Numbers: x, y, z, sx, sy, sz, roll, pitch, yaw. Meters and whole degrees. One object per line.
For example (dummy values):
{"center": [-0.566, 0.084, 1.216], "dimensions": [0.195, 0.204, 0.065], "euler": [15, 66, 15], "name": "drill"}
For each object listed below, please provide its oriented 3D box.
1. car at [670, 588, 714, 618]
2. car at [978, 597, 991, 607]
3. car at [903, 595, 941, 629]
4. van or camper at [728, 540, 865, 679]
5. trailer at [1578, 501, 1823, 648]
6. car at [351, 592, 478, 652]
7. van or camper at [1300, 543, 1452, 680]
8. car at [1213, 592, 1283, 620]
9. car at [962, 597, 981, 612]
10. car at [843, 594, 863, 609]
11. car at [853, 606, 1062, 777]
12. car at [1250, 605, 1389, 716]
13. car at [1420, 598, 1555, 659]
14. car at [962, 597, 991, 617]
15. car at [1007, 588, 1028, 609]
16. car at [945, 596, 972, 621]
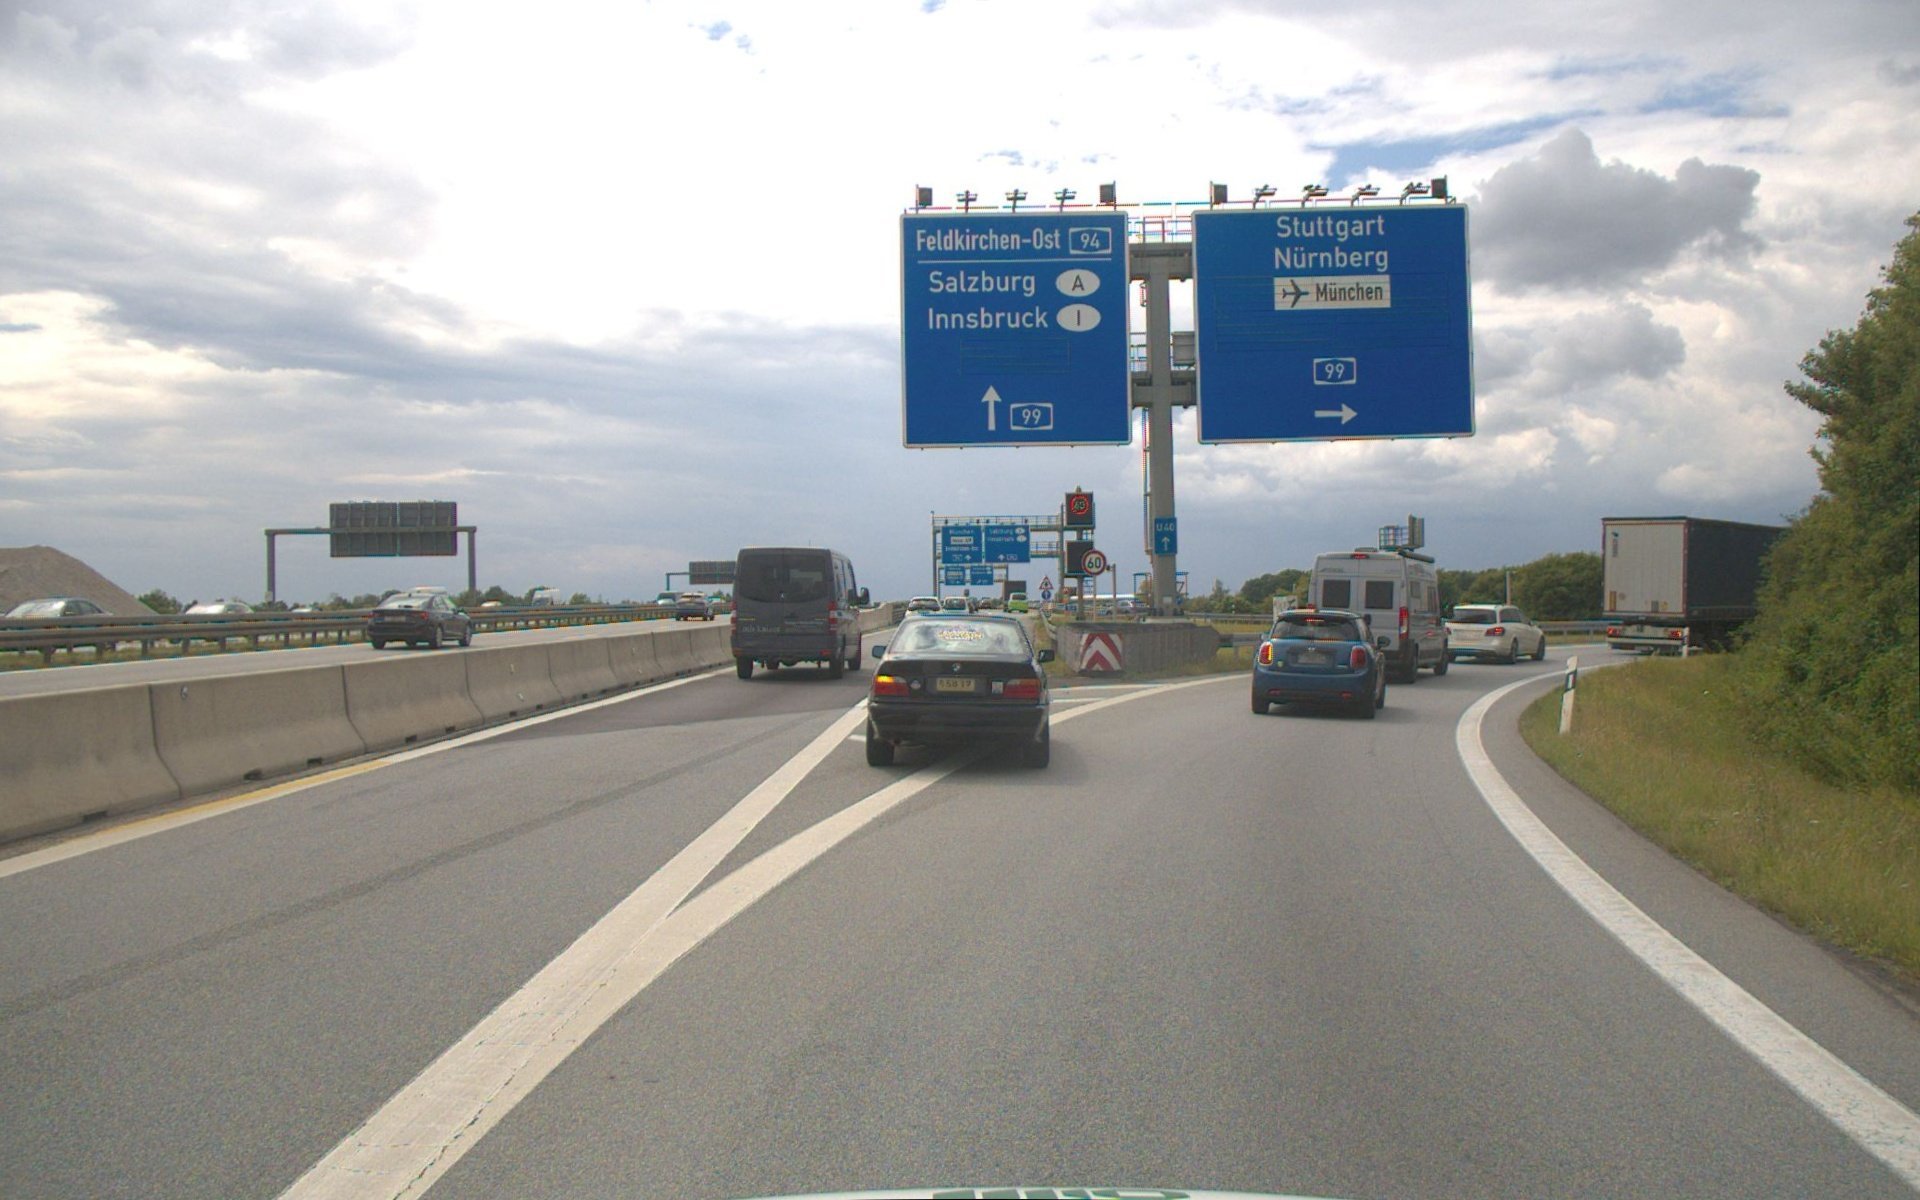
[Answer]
{"center": [-15.554, 0.163, 96.266], "dimensions": [1.862, 1.669, 4.644], "euler": [1, 0, -1], "name": "car"}
{"center": [3.633, 0.294, 240.972], "dimensions": [1.765, 1.449, 4.001], "euler": [0, 0, 2], "name": "car"}
{"center": [-1.724, 0.521, 75.415], "dimensions": [1.666, 1.534, 3.840], "euler": [0, 0, 0], "name": "car"}
{"center": [-3.022, 0.166, 31.817], "dimensions": [1.958, 2.412, 6.126], "euler": [0, 0, 1], "name": "van or camper"}
{"center": [24.378, -0.731, 53.869], "dimensions": [3.284, 4.266, 12.946], "euler": [0, 0, 43], "name": "trailer"}
{"center": [-14.862, 0.564, 45.361], "dimensions": [2.017, 1.554, 4.567], "euler": [0, 0, -1], "name": "car"}
{"center": [8.876, 0.210, 34.874], "dimensions": [2.247, 2.613, 6.159], "euler": [0, 0, 22], "name": "van or camper"}
{"center": [18.756, 0.372, 107.871], "dimensions": [1.983, 1.803, 4.183], "euler": [0, 0, -41], "name": "car"}
{"center": [1.148, 0.466, 164.233], "dimensions": [1.827, 1.449, 4.001], "euler": [0, 0, 1], "name": "car"}
{"center": [-12.346, 0.169, 190.500], "dimensions": [1.952, 1.713, 4.866], "euler": [0, 0, 1], "name": "car"}
{"center": [0.021, 0.771, 15.871], "dimensions": [1.745, 1.402, 4.137], "euler": [0, 0, 1], "name": "car"}
{"center": [5.278, 0.819, 23.981], "dimensions": [1.693, 1.444, 3.668], "euler": [1, 0, 17], "name": "car"}
{"center": [14.001, 0.707, 43.719], "dimensions": [2.167, 1.527, 4.772], "euler": [0, 0, 34], "name": "car"}
{"center": [1.254, 0.496, 125.677], "dimensions": [1.951, 1.494, 4.002], "euler": [0, 0, 4], "name": "car"}
{"center": [5.693, -0.128, 164.519], "dimensions": [1.953, 2.049, 3.999], "euler": [0, 0, -1], "name": "car"}
{"center": [-0.087, 0.507, 100.554], "dimensions": [1.552, 1.510, 3.535], "euler": [0, 0, 1], "name": "car"}
